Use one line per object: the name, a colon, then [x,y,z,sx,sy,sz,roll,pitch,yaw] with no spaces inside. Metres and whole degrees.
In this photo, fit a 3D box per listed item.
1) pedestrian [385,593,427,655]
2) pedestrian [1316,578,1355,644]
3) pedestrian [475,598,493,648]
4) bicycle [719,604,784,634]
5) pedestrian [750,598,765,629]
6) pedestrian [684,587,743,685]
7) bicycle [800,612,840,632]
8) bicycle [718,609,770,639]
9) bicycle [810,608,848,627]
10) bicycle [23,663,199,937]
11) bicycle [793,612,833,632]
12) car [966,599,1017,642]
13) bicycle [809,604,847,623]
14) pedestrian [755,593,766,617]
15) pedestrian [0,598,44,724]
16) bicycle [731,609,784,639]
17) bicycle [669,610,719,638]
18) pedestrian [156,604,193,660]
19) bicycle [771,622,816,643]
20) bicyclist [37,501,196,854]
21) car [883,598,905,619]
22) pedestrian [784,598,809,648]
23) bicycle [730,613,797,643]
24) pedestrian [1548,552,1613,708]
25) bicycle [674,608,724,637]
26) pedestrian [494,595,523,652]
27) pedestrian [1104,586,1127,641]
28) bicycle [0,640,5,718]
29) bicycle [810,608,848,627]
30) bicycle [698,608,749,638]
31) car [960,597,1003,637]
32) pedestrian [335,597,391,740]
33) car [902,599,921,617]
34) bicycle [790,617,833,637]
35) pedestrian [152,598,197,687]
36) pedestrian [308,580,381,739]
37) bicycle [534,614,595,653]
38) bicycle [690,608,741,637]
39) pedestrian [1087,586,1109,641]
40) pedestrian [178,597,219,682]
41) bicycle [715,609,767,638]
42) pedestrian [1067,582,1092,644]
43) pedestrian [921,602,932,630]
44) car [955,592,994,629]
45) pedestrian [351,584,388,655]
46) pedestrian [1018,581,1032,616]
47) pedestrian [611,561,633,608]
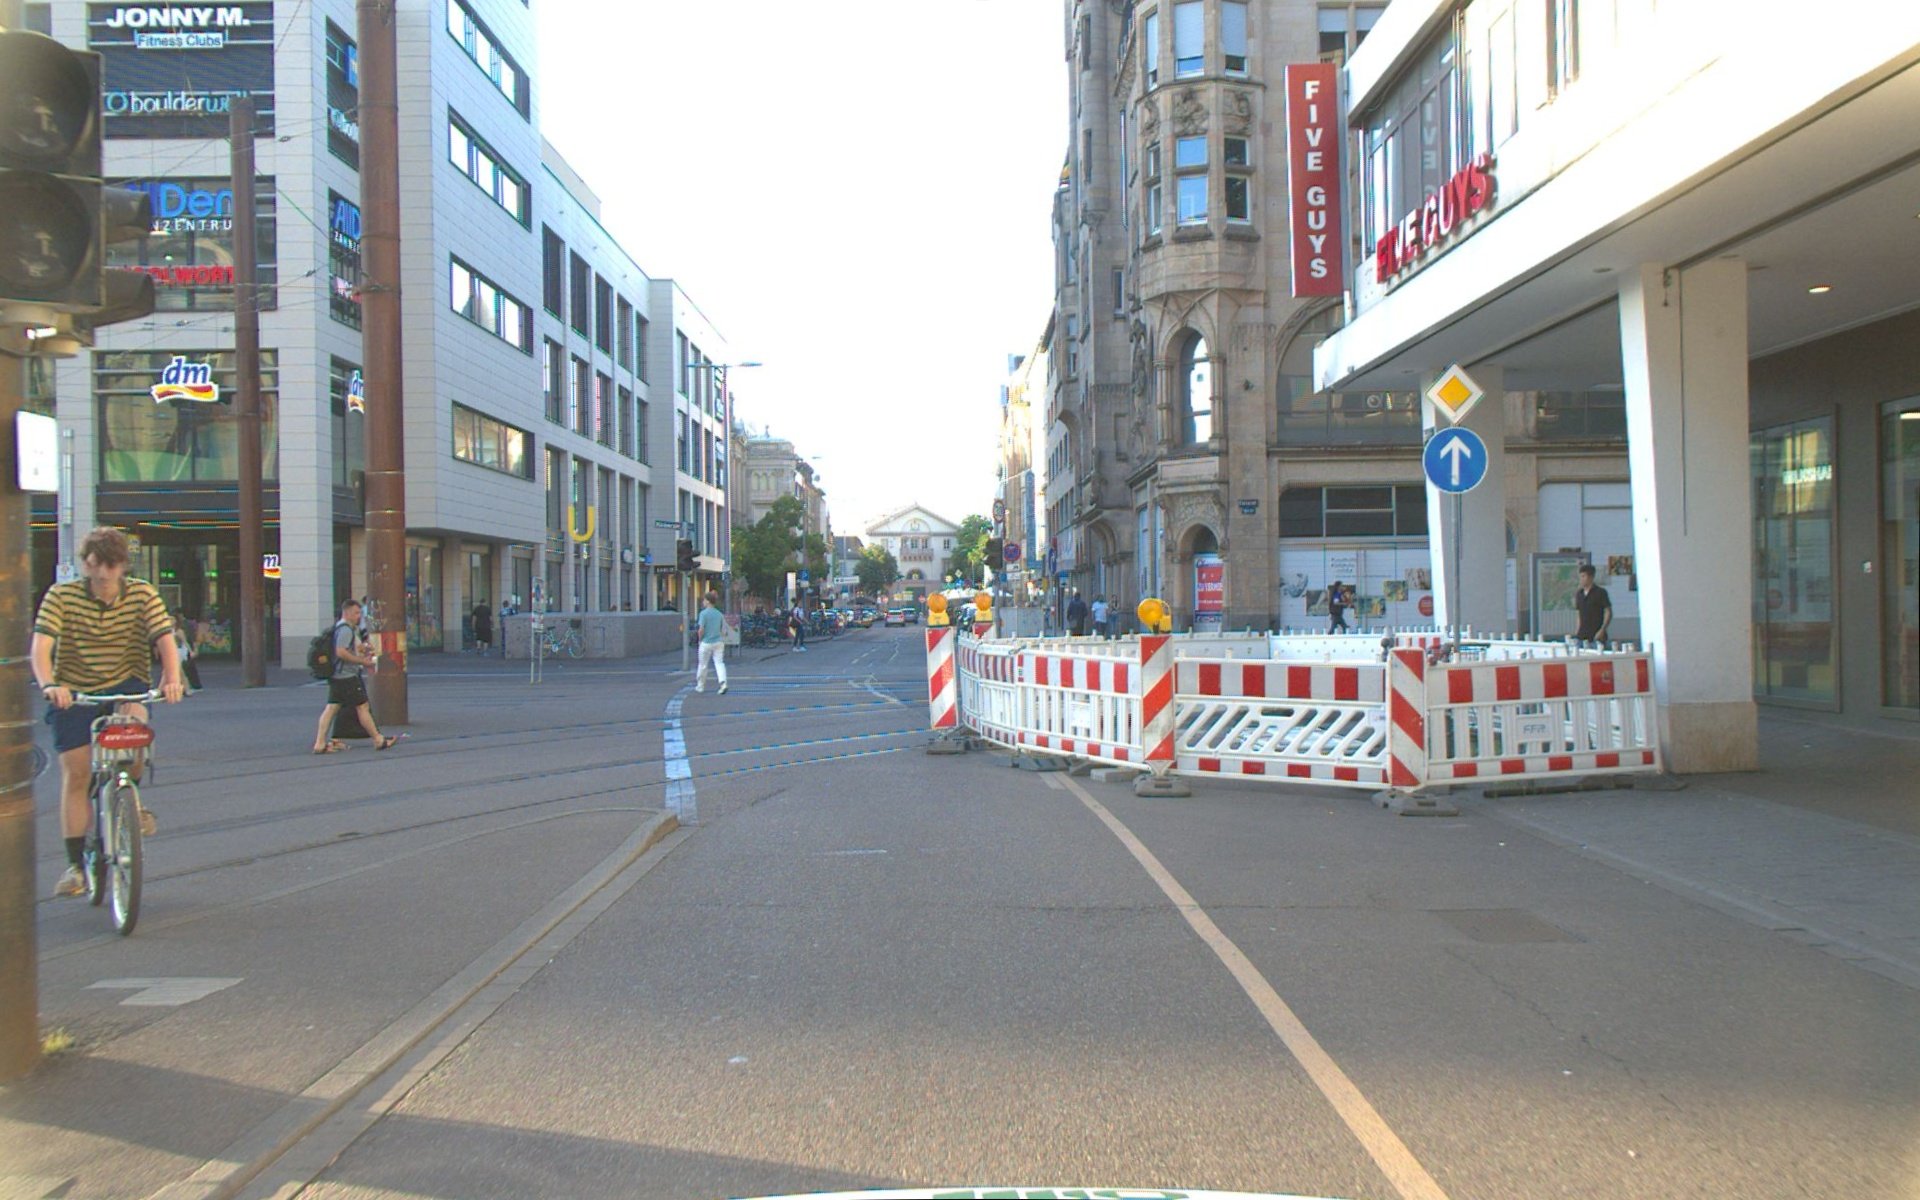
pedestrian: [-15.256,0.668,45.565,0.750,1.688,0.817,0,0,13]
pedestrian: [9.428,0.272,41.535,0.803,1.639,0.713,0,0,-1]
pedestrian: [-14.934,0.727,51.894,0.382,1.541,0.505,-1,0,-2]
bicycle: [-9.451,0.848,74.998,2.853,1.277,0.797,-1,0,-27]
pedestrian: [-10.516,0.701,85.956,0.736,1.556,0.485,-1,0,-1]
pedestrian: [-4.555,0.659,30.612,0.847,1.792,0.768,0,-1,11]
bicycle: [-7.675,1.196,90.927,2.104,1.047,0.640,-1,0,1]
bicycle: [-8.324,0.910,63.737,1.946,1.141,0.553,1,-1,-30]
bicycle: [-7.553,1.015,95.472,2.104,1.047,0.640,-1,0,1]
bicycle: [-4.022,0.884,7.927,0.619,1.123,1.613,-1,-1,-23]
bicycle: [-8.004,1.190,90.132,2.104,1.047,0.640,-1,0,1]
car: [1.108,0.730,59.647,1.645,1.449,3.672,2,0,-1]
bicycle: [-7.471,0.768,93.670,2.104,1.047,0.640,-1,0,1]
pedestrian: [-14.191,0.354,117.730,0.666,1.649,0.573,-1,0,-1]
pedestrian: [-13.104,0.833,22.790,0.635,1.703,0.531,-1,0,8]
bicycle: [-7.714,0.912,62.996,1.946,1.141,0.553,1,-1,-30]
bicycle: [-10.940,0.979,68.088,1.946,1.141,0.553,1,-1,-30]
pedestrian: [-22.133,0.901,46.618,0.560,1.553,0.791,0,0,11]
bicycle: [-8.268,1.622,82.155,2.104,0.970,0.640,-1,0,1]
bicyclist: [-4.097,0.354,8.081,0.600,1.621,0.786,-1,0,-22]
car: [-6.134,0.781,153.612,1.953,1.937,3.999,0,0,-1]
pedestrian: [-5.728,0.800,57.925,0.819,1.751,0.680,-1,0,-8]
bicycle: [-8.767,1.245,73.791,2.853,1.277,0.797,-1,0,-27]
pedestrian: [8.312,0.391,22.165,0.694,2.049,0.468,0,-1,41]
bicycle: [-10.581,0.907,67.147,1.946,1.141,0.553,1,-1,-30]
pedestrian: [-14.341,0.738,52.552,0.766,1.782,0.600,0,-1,-4]
pedestrian: [4.971,0.430,53.002,0.612,1.719,0.626,-1,0,-3]
bicycle: [-13.963,1.124,22.823,0.562,1.117,2.020,0,0,-5]
bicycle: [-7.486,1.012,94.438,2.104,1.047,0.640,-1,0,1]
bicycle: [-9.324,0.909,65.293,1.946,1.141,0.553,1,-1,-30]
car: [0.879,0.699,70.157,1.645,1.574,3.672,-2,0,-1]
pedestrian: [-6.913,0.778,19.139,0.562,1.621,0.445,-1,0,-24]
car: [-5.145,0.834,176.458,1.953,1.937,3.999,0,0,-1]
bicycle: [-7.643,1.408,85.282,2.104,0.970,0.640,-1,0,1]
pedestrian: [-15.166,0.815,31.946,0.517,1.703,0.651,-1,0,0]
pedestrian: [-6.888,0.654,18.535,0.733,1.730,0.606,-1,0,-20]
bicycle: [-11.618,0.979,48.615,1.661,1.141,0.451,0,0,2]
bicycle: [-9.728,0.908,65.928,1.946,1.141,0.553,1,-1,-30]
pedestrian: [4.370,0.427,52.409,0.612,1.719,0.671,-1,0,-3]
pedestrian: [-15.554,0.802,33.781,0.517,1.703,0.651,-1,0,0]
bicycle: [-8.525,0.912,64.451,1.946,1.141,0.553,1,-1,-30]
pedestrian: [3.380,0.368,46.778,0.612,1.719,0.671,-1,0,-3]
pedestrian: [-2.233,1.059,111.077,0.590,1.855,0.449,-1,0,-22]
car: [0.635,0.484,76.592,1.645,1.641,4.027,-2,0,-1]
pedestrian: [-15.841,0.530,44.379,0.560,1.887,0.817,0,0,11]
pedestrian: [3.212,-0.073,81.986,0.631,1.719,0.671,-1,0,-3]
pedestrian: [-12.220,-0.559,59.804,0.667,1.710,0.600,0,-1,-4]
